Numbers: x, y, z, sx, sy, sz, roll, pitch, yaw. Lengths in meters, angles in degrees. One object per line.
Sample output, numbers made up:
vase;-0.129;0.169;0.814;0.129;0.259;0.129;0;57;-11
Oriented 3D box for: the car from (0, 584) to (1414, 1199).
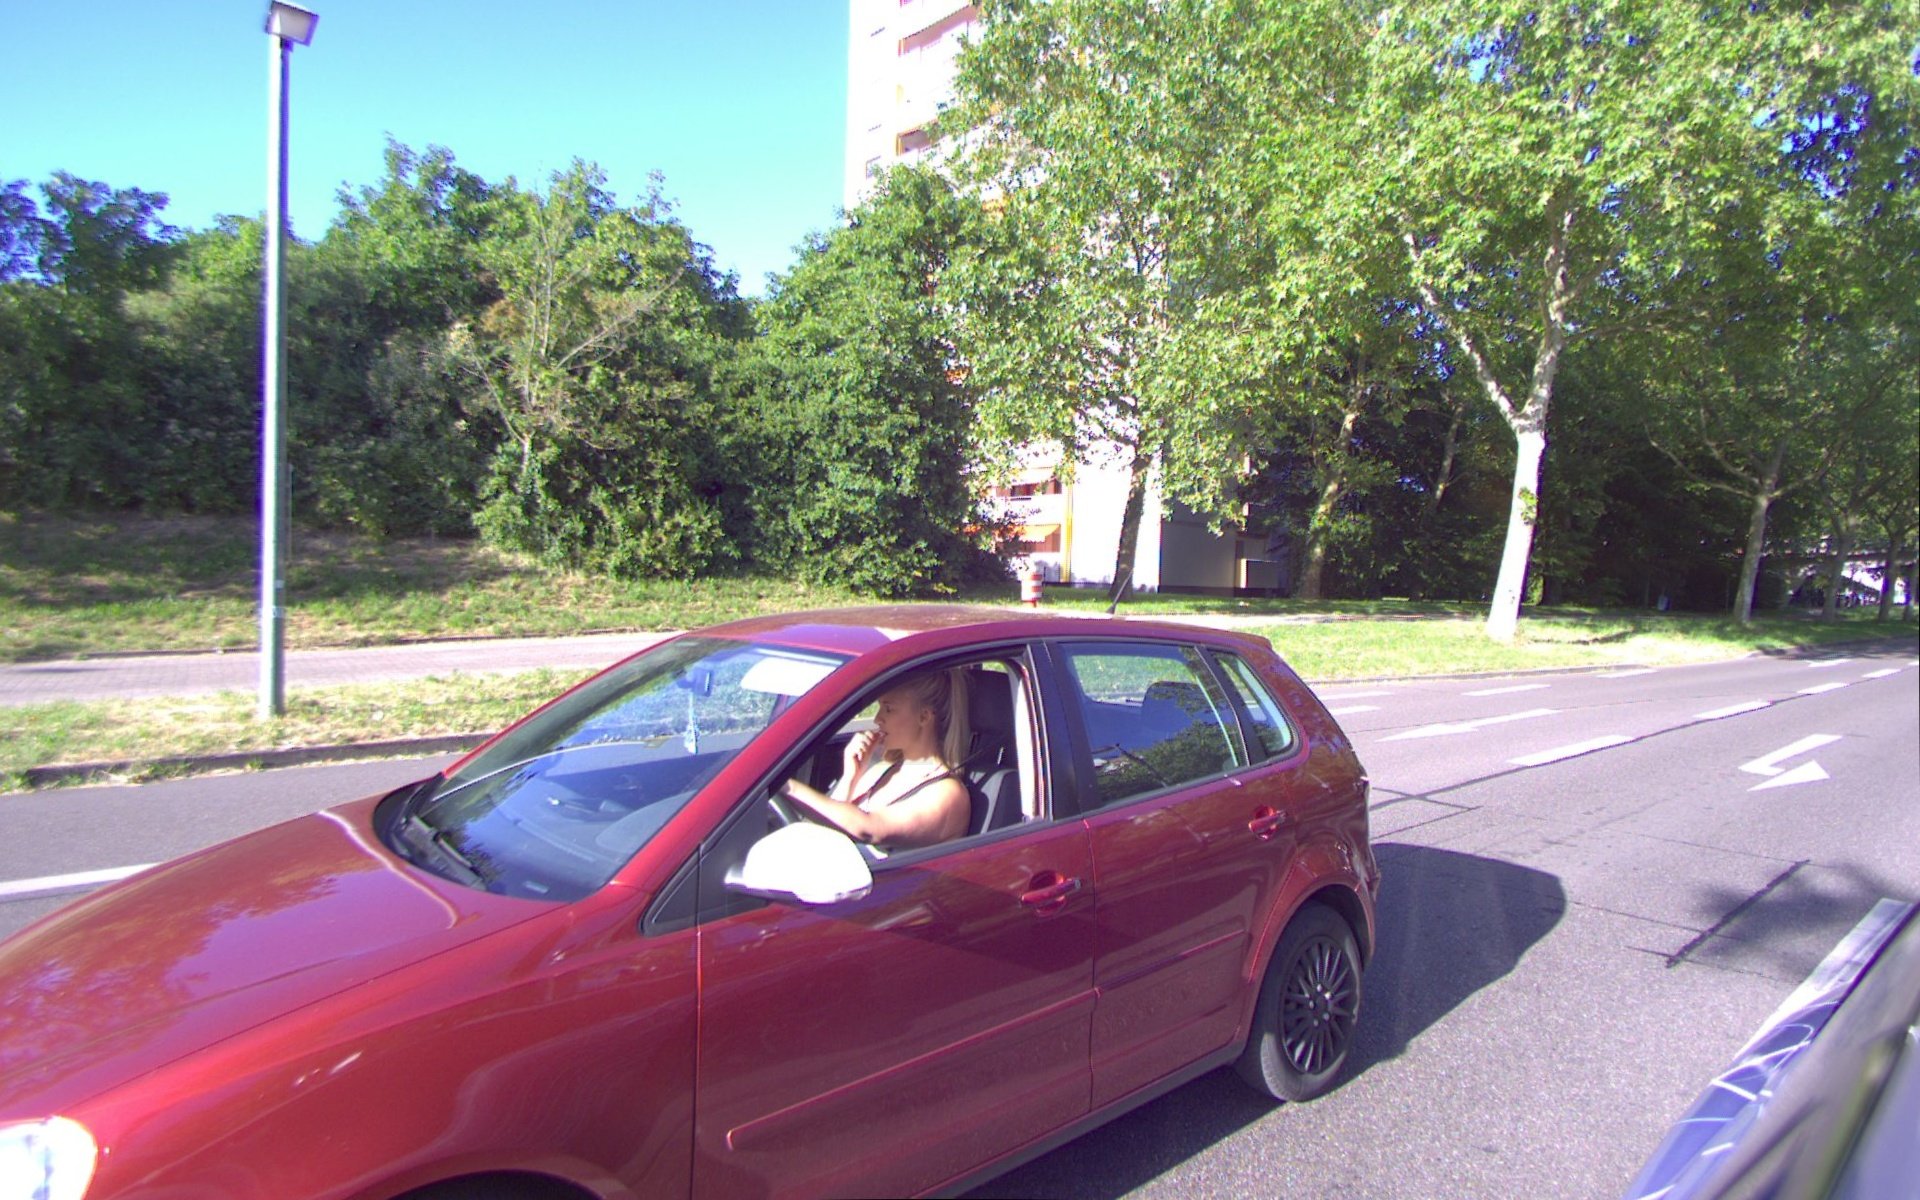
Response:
car;-0.465;0.695;2.754;3.627;1.434;1.626;0;1;-39
